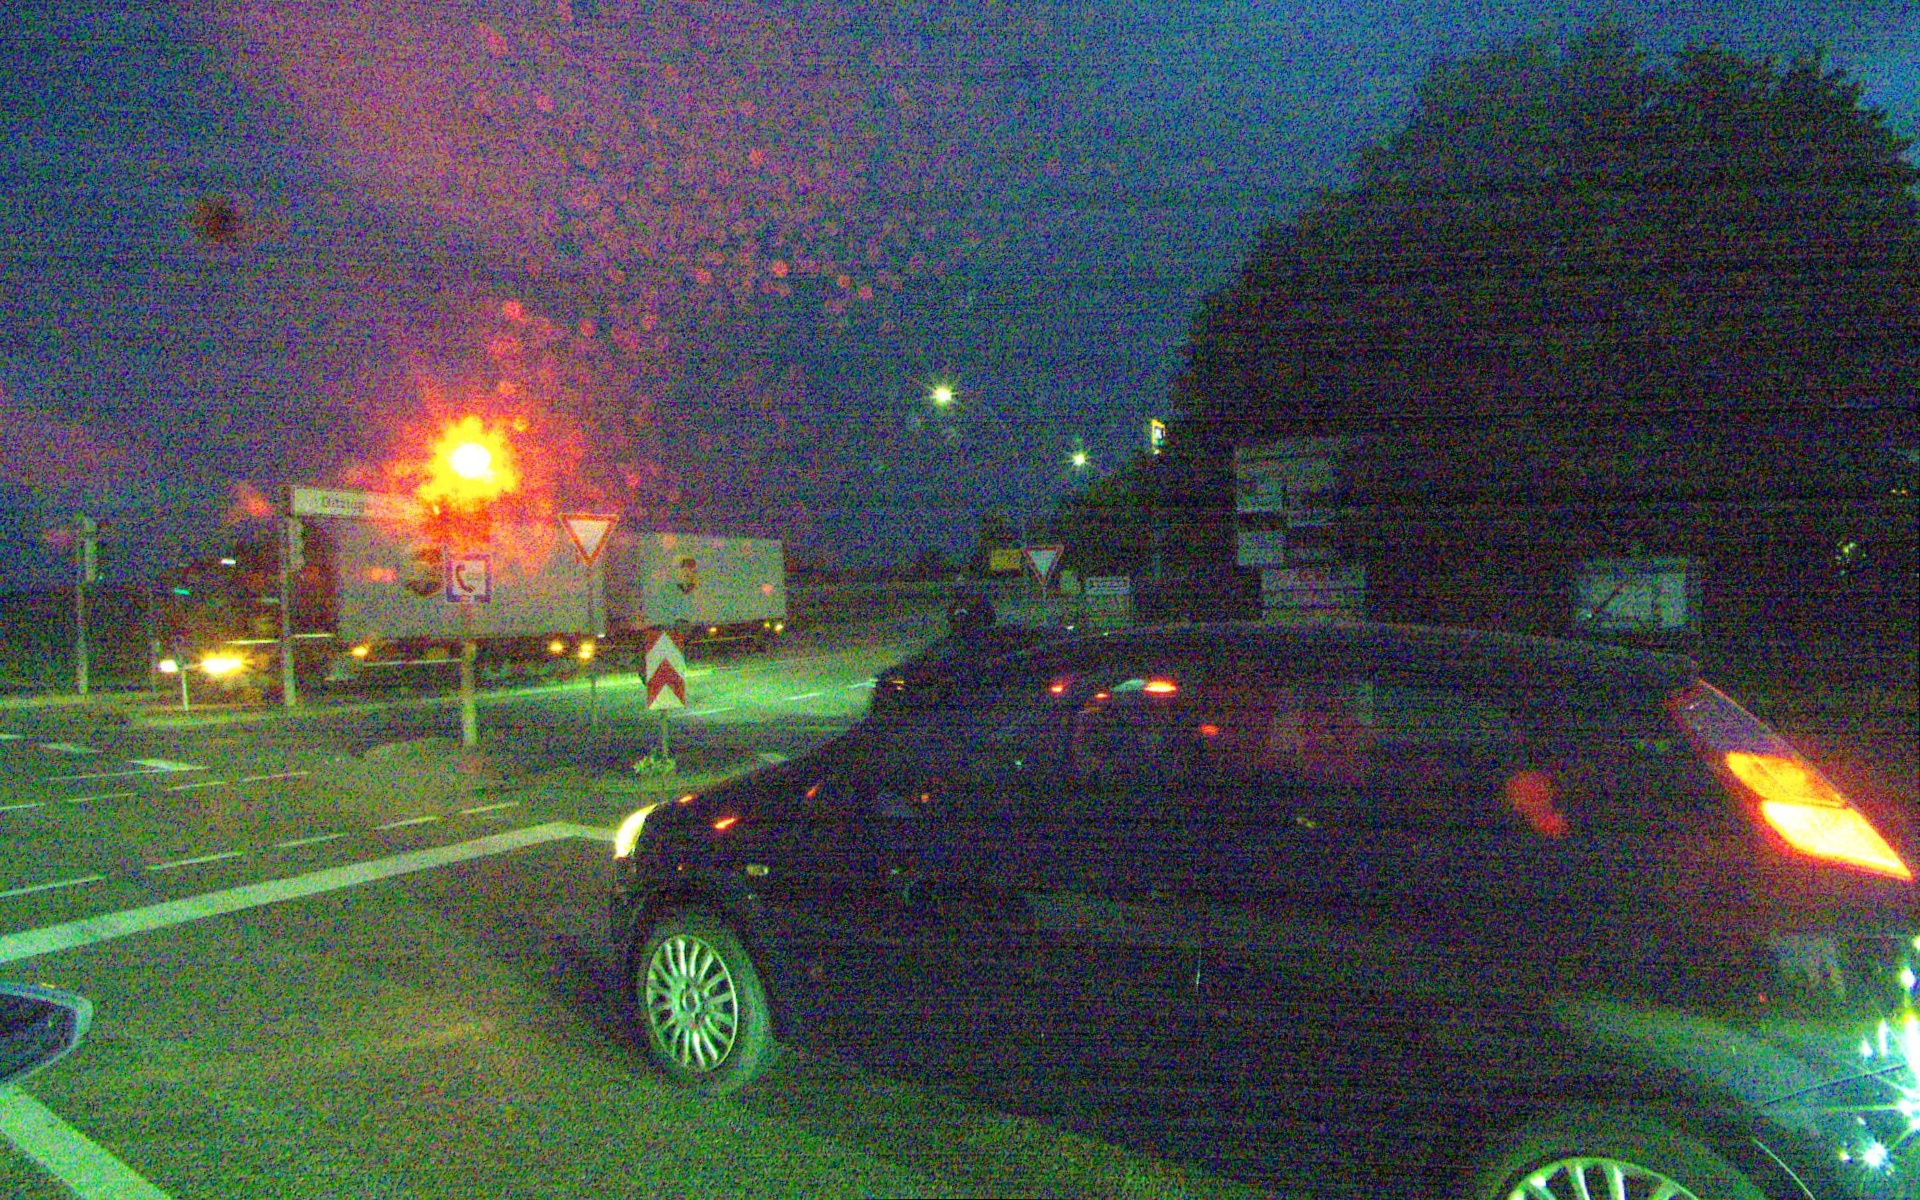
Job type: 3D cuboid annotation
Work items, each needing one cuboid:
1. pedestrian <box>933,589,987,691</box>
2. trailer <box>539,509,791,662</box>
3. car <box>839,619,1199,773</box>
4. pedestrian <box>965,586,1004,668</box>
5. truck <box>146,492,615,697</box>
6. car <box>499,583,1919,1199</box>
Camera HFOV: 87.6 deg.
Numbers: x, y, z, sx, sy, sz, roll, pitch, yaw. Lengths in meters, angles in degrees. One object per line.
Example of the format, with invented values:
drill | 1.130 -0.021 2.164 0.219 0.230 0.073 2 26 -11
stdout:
pedestrian | 0.009 0.739 19.032 0.861 1.859 0.731 -3 1 6
trailer | -9.325 -0.391 33.223 2.876 4.359 9.046 -1 0 23
car | 0.456 0.959 11.995 1.899 1.450 4.673 0 -1 -34
pedestrian | 0.598 0.646 24.038 0.860 1.925 0.660 -1 1 6
truck | -13.448 -0.097 24.773 2.879 4.032 10.031 0 0 28
car | 0.435 0.785 3.251 4.049 1.540 1.666 -1 -1 34
